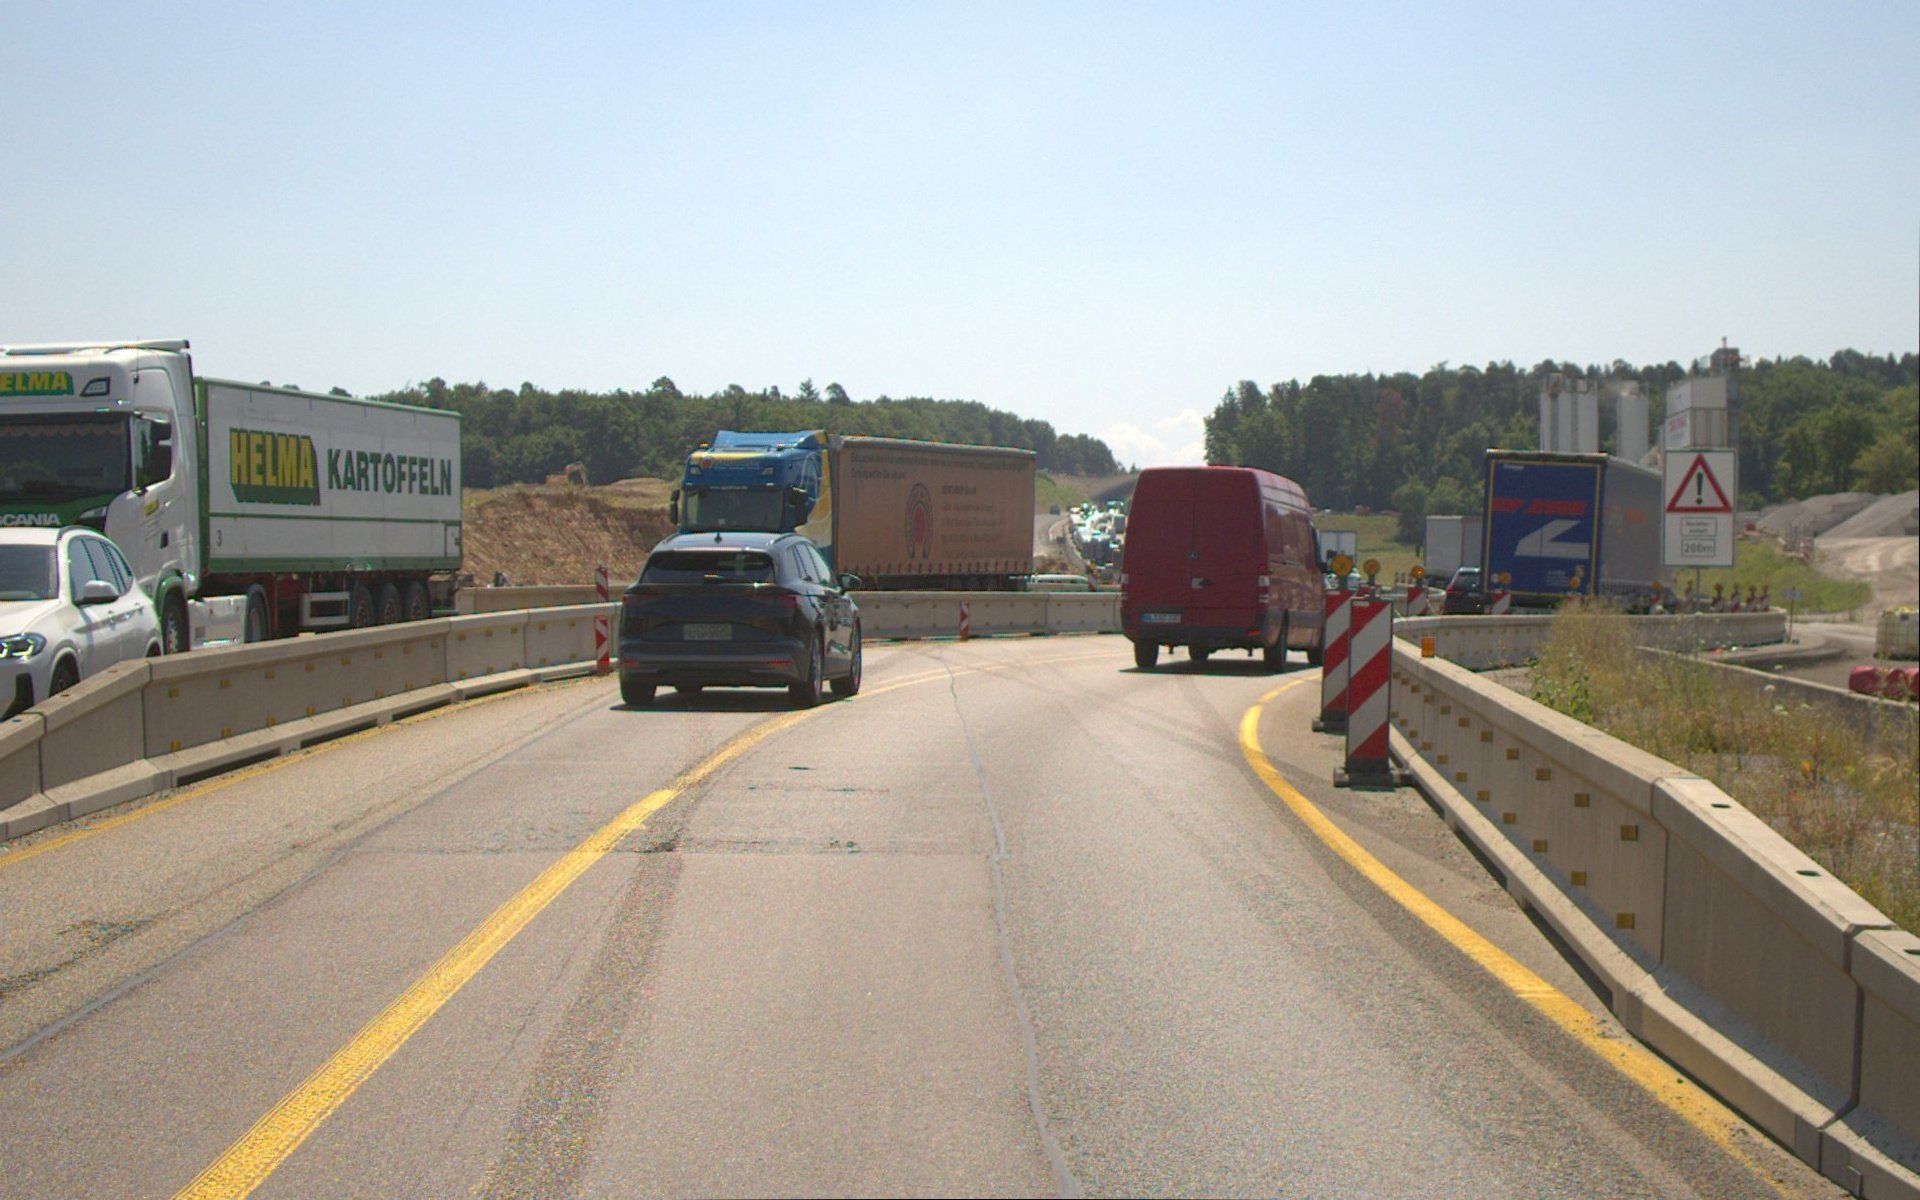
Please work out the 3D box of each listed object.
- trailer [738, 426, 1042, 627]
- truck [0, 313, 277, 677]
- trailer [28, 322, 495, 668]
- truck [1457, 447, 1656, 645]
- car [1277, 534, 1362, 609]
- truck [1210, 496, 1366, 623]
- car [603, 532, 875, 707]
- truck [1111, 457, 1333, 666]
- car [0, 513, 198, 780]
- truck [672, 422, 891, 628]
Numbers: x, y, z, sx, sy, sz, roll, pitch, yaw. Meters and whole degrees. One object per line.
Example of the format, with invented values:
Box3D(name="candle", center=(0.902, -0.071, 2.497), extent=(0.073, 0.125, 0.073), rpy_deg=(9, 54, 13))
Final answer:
Box3D(name="trailer", center=(-1.331, -1.594, 77.744), extent=(2.589, 4.138, 13.053), rpy_deg=(1, 1, 18))
Box3D(name="truck", center=(-10.026, -1.201, 40.566), extent=(2.448, 3.994, 5.076), rpy_deg=(1, 1, 6))
Box3D(name="trailer", center=(-9.276, -1.344, 47.674), extent=(2.354, 4.138, 12.495), rpy_deg=(1, 1, 8))
Box3D(name="truck", center=(13.409, -1.189, 76.717), extent=(3.018, 4.138, 8.264), rpy_deg=(1, 1, 19))
Box3D(name="car", center=(7.984, -0.642, 76.319), extent=(1.802, 1.574, 3.999), rpy_deg=(1, 1, 6))
Box3D(name="truck", center=(9.217, -1.129, 95.996), extent=(2.582, 3.370, 6.921), rpy_deg=(1, 1, 20))
Box3D(name="car", center=(-2.019, 0.147, 32.509), extent=(1.795, 1.529, 3.930), rpy_deg=(1, 1, 8))
Box3D(name="truck", center=(3.671, -0.525, 46.929), extent=(2.113, 2.624, 6.481), rpy_deg=(1, 1, 12))
Box3D(name="car", center=(-6.981, 0.257, 24.626), extent=(1.993, 1.733, 4.493), rpy_deg=(1, 1, 0))
Box3D(name="truck", center=(-3.606, -1.522, 70.883), extent=(2.547, 4.067, 5.540), rpy_deg=(1, 1, 19))
